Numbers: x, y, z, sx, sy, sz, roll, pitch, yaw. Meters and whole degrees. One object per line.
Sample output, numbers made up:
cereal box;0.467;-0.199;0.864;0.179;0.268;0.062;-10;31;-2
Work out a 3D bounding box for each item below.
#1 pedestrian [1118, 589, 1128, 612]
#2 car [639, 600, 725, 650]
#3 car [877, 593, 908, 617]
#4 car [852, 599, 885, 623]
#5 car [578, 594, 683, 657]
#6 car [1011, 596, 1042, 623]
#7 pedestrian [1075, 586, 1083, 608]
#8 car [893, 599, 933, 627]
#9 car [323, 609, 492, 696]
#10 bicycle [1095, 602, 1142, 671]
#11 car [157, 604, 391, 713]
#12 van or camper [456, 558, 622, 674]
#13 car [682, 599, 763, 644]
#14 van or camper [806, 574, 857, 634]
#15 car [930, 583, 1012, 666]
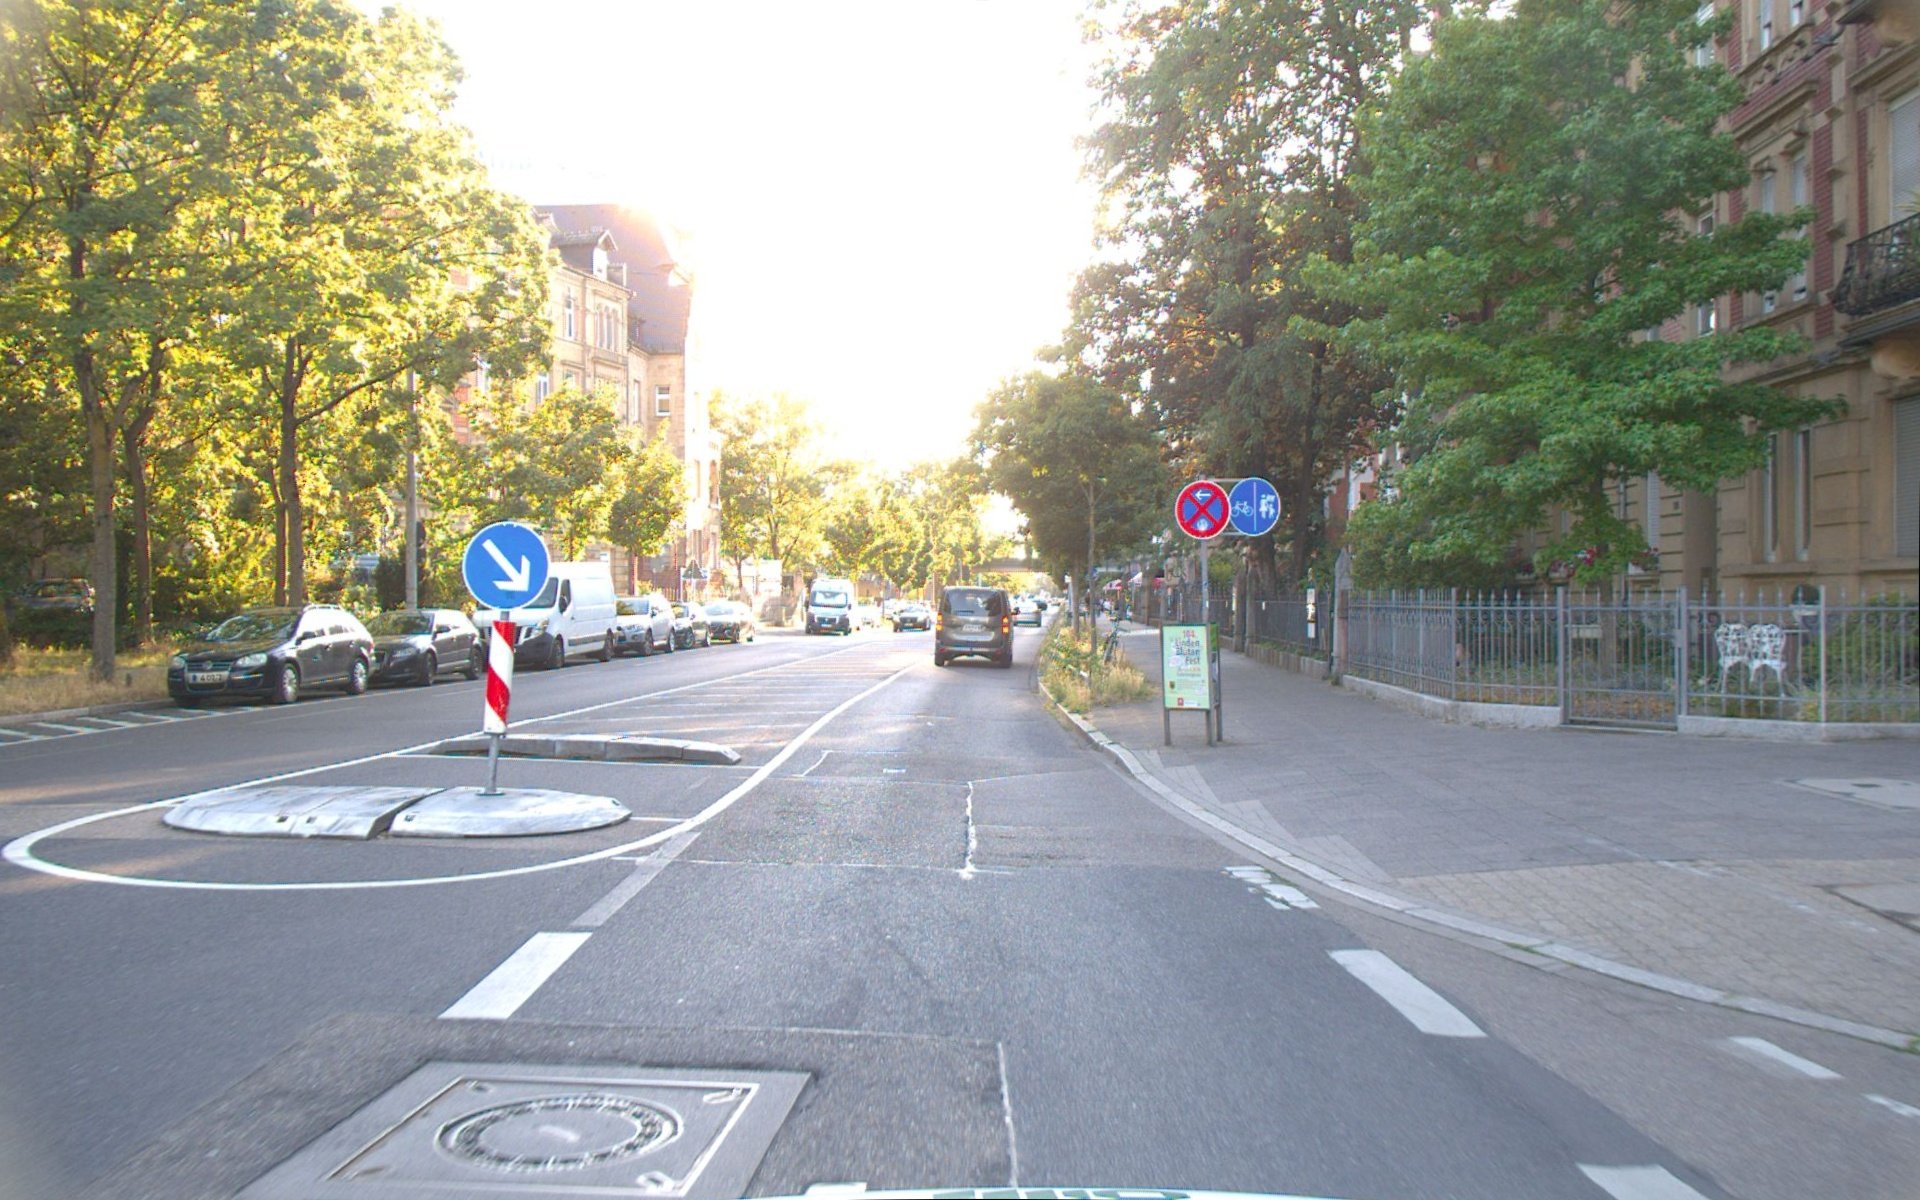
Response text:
pedestrian;11.976;0.030;121.604;0.631;1.661;0.656;2;0;4
car;-8.796;0.771;52.679;1.699;1.471;4.627;0;0;3
car;-4.424;0.324;108.940;1.661;1.477;4.001;2;0;3
car;-5.193;0.606;93.967;1.504;1.270;3.615;2;0;3
car;-9.324;0.682;47.105;1.827;1.673;4.573;-1;0;3
car;4.276;0.582;105.993;1.952;1.662;4.001;0;1;2
pedestrian;10.217;-0.250;142.019;0.495;1.921;0.544;1;0;-11
car;-2.536;0.683;90.237;1.729;1.426;4.547;-1;0;4
car;-10.452;0.957;31.601;1.594;1.454;4.244;-1;0;3
bicycle;2.904;0.647;30.417;0.633;1.187;1.931;2;0;0
car;-10.785;0.867;26.396;1.589;1.533;4.546;-1;0;4
van or camper;-9.944;0.323;39.670;2.047;2.511;6.308;-1;0;3
car;-8.405;0.724;59.004;1.952;1.509;4.831;0;0;3
van or camper;-6.136;0.174;79.691;1.953;2.715;6.038;2;0;-1
car;0.329;0.562;40.990;1.848;1.958;3.841;-1;0;3
